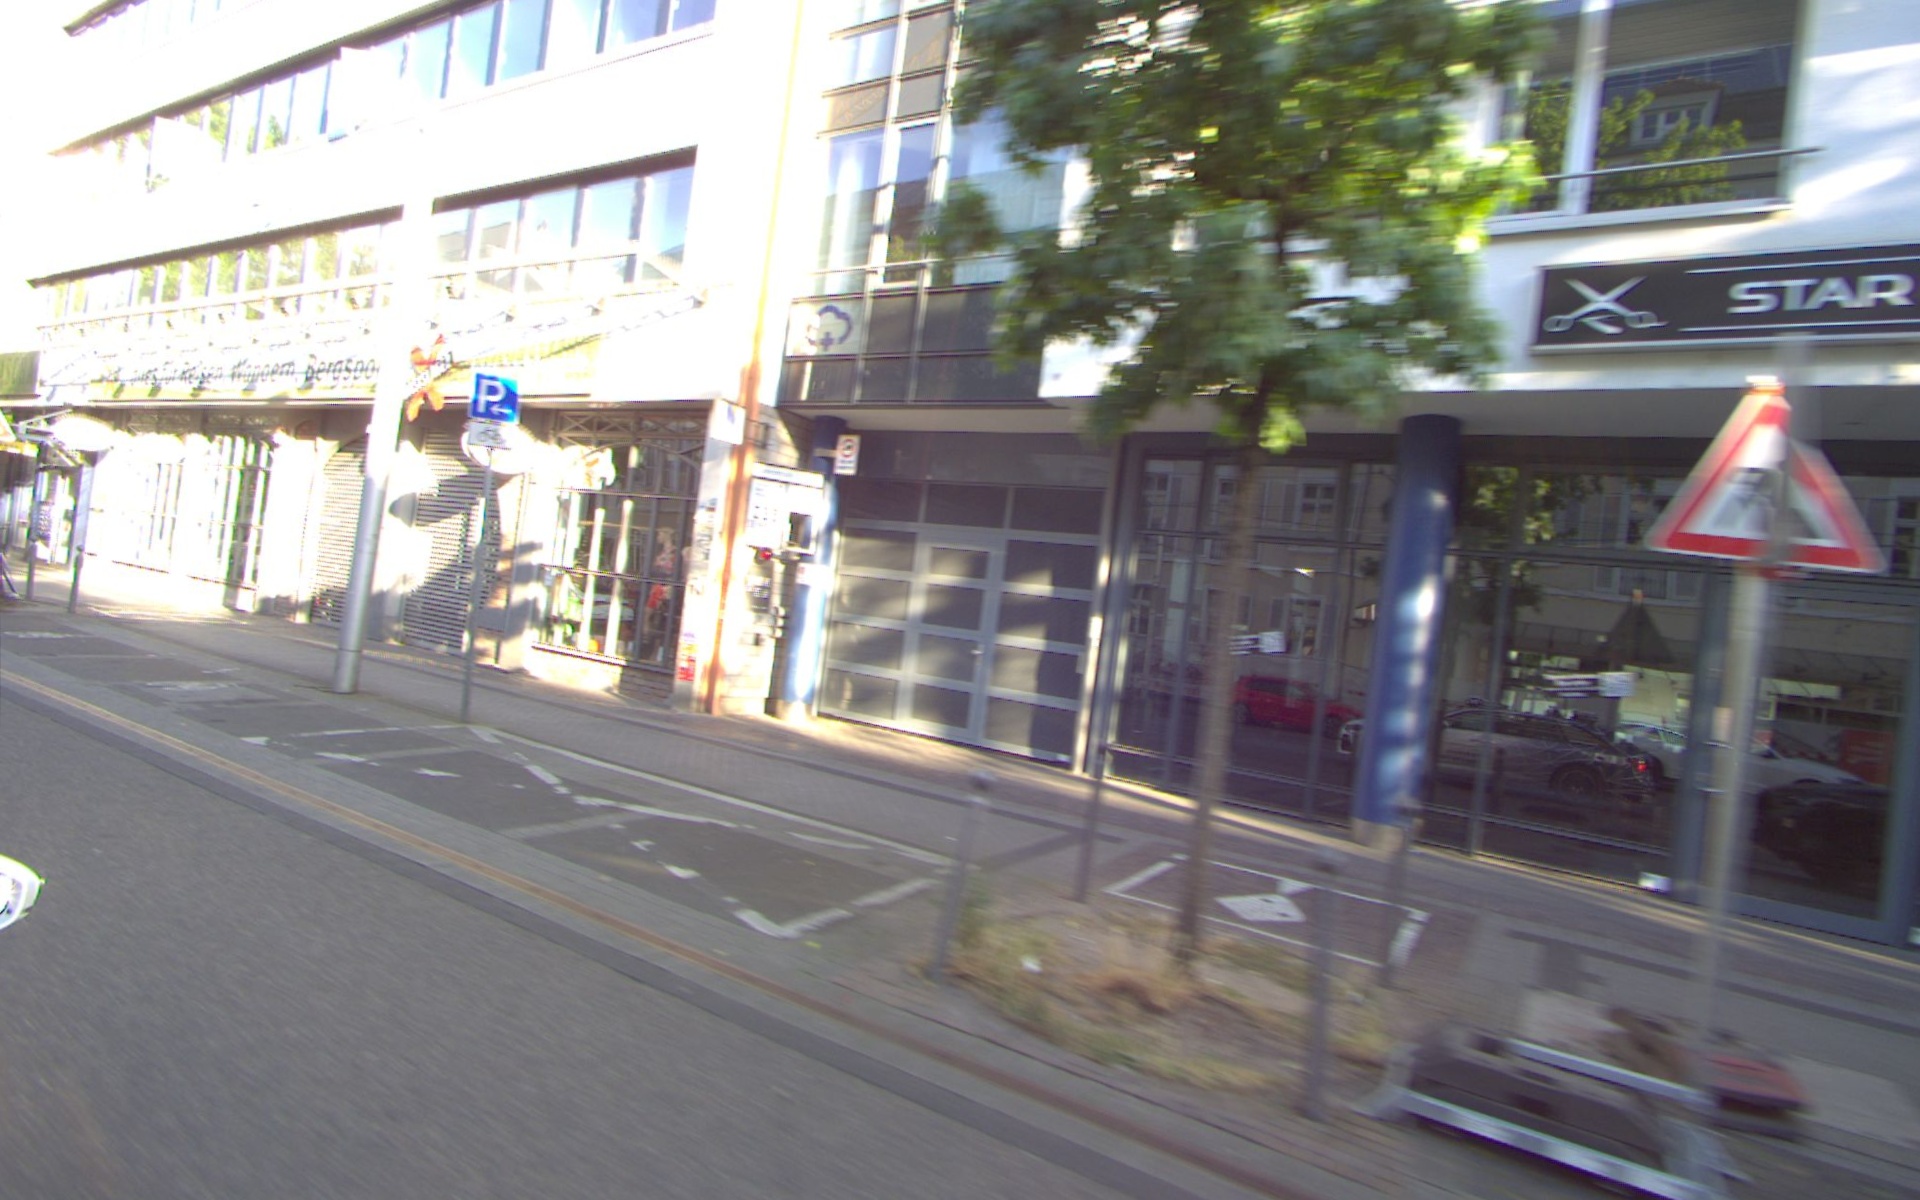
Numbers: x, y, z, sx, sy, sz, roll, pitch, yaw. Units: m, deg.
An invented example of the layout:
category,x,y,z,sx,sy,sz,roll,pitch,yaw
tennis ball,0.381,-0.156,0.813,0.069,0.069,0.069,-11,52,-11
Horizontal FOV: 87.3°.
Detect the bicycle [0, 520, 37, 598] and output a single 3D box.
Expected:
category,x,y,z,sx,sy,sz,roll,pitch,yaw
bicycle,-15.106,-0.693,15.017,0.828,1.149,1.811,6,0,39
